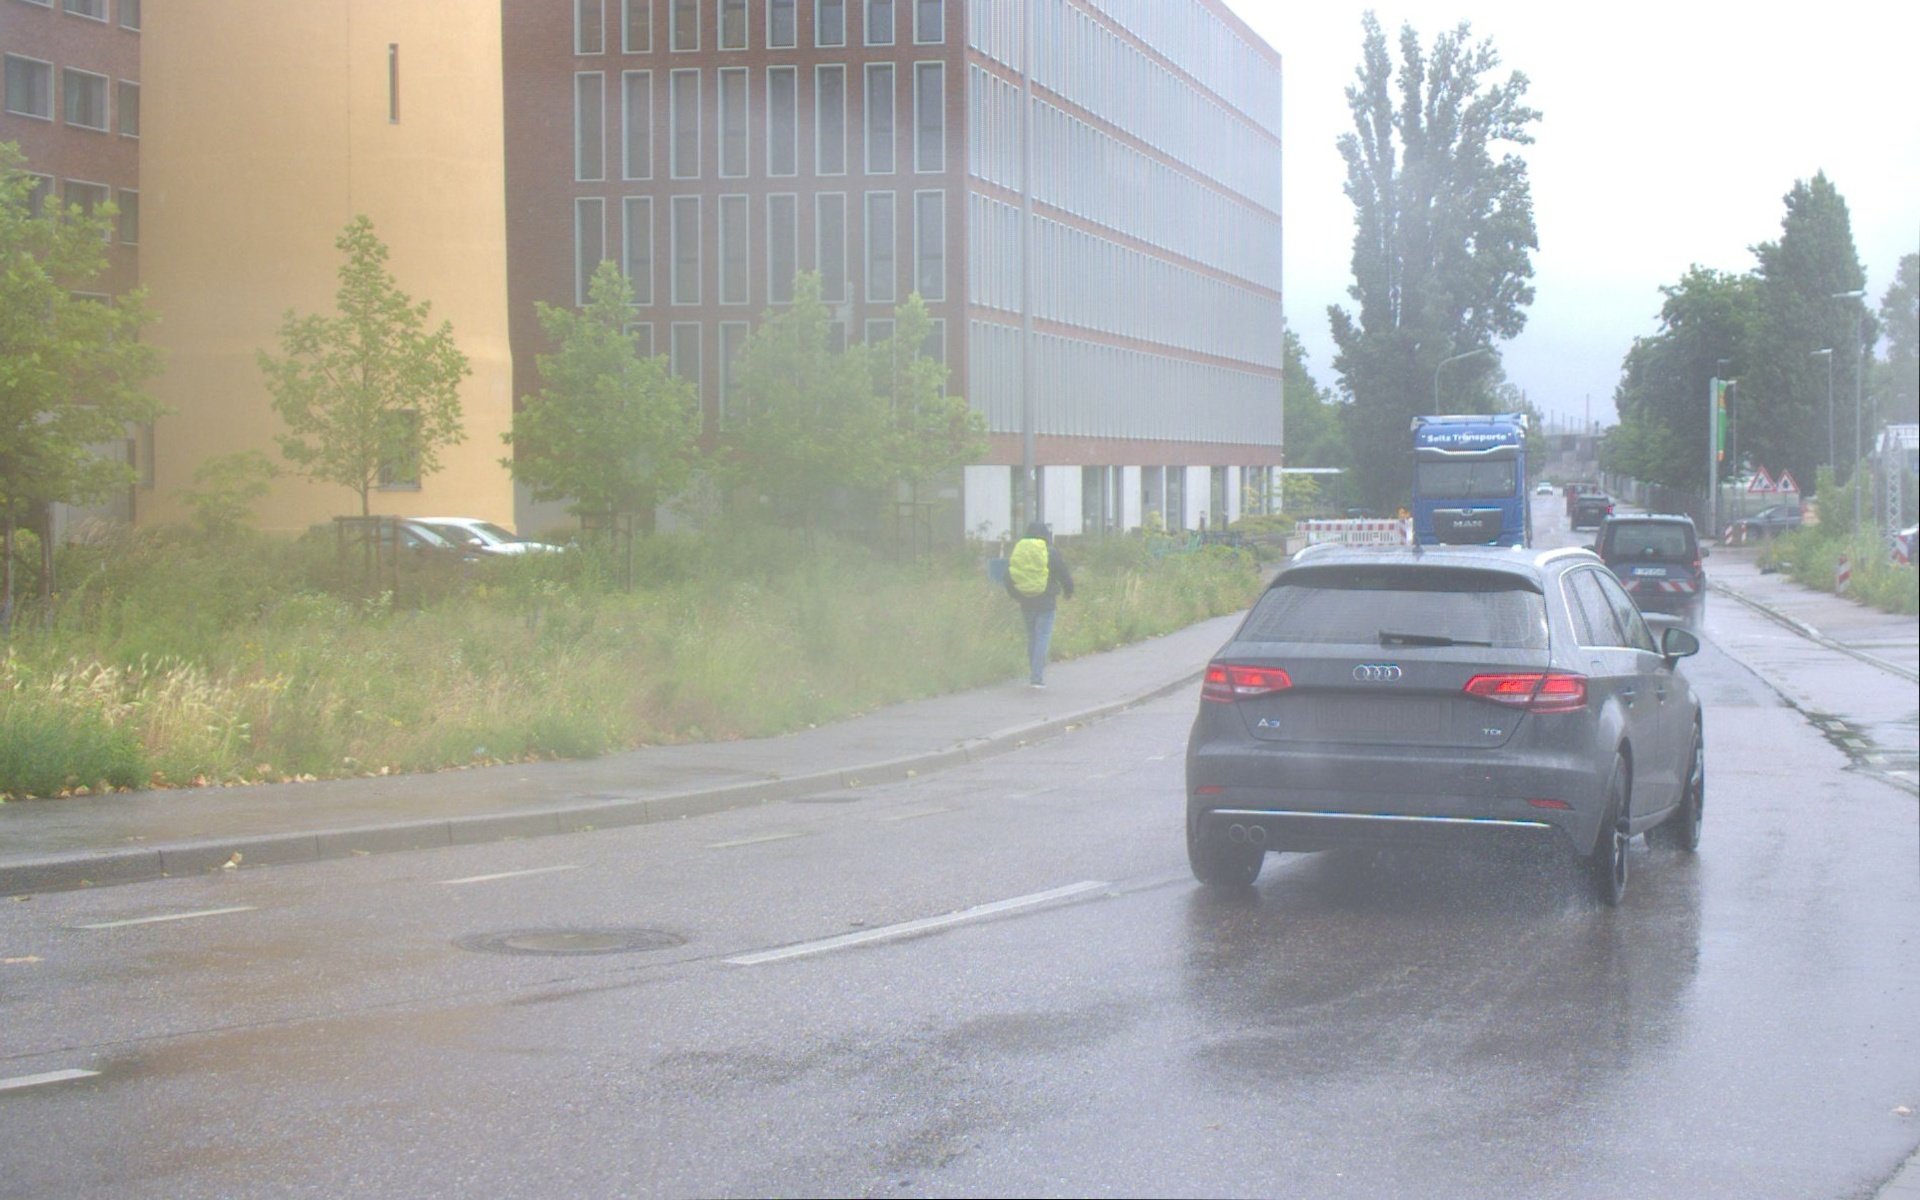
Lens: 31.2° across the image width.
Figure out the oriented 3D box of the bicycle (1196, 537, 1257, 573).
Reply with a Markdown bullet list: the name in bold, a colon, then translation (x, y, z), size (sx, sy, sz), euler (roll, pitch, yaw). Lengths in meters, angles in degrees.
- **bicycle**: translation (8.441, -1.414, 108.791), size (1.860, 1.073, 0.544), euler (2, 1, 9)

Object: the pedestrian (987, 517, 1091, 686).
- **pedestrian**: translation (0.823, 0.010, 35.449), size (0.909, 1.712, 1.026), euler (0, 1, 11)

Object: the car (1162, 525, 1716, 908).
- **car**: translation (2.282, 0.396, 15.344), size (1.896, 1.451, 4.224), euler (0, 1, 16)

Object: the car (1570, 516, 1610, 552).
- **car**: translation (30.580, -3.194, 166.813), size (1.731, 1.681, 3.895), euler (1, 1, 13)

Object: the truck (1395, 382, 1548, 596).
- **truck**: translation (11.626, -2.484, 78.074), size (3.295, 4.638, 6.031), euler (0, 1, 9)

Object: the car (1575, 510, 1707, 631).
- **car**: translation (11.101, -0.510, 56.267), size (1.994, 1.904, 4.199), euler (0, 1, 9)

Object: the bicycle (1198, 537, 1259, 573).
- **bicycle**: translation (8.558, -1.447, 109.629), size (1.860, 1.073, 0.544), euler (2, 1, 9)

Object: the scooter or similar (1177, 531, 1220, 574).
- **scooter or similar**: translation (6.786, -1.355, 97.765), size (1.204, 1.226, 0.467), euler (-1, 2, -37)

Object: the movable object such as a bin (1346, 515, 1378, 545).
- **movable object such as a bin**: translation (17.425, -3.038, 148.917), size (1.296, 1.304, 1.448), euler (1, 2, 4)

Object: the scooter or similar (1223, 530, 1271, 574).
- **scooter or similar**: translation (8.085, -1.360, 96.965), size (1.319, 1.226, 0.466), euler (1, 2, 40)

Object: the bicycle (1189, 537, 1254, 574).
- **bicycle**: translation (8.153, -1.388, 107.271), size (1.949, 1.073, 0.620), euler (2, 1, 9)

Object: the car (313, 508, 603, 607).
- **car**: translation (-8.530, -0.737, 58.624), size (4.522, 1.635, 1.999), euler (0, 1, 8)
